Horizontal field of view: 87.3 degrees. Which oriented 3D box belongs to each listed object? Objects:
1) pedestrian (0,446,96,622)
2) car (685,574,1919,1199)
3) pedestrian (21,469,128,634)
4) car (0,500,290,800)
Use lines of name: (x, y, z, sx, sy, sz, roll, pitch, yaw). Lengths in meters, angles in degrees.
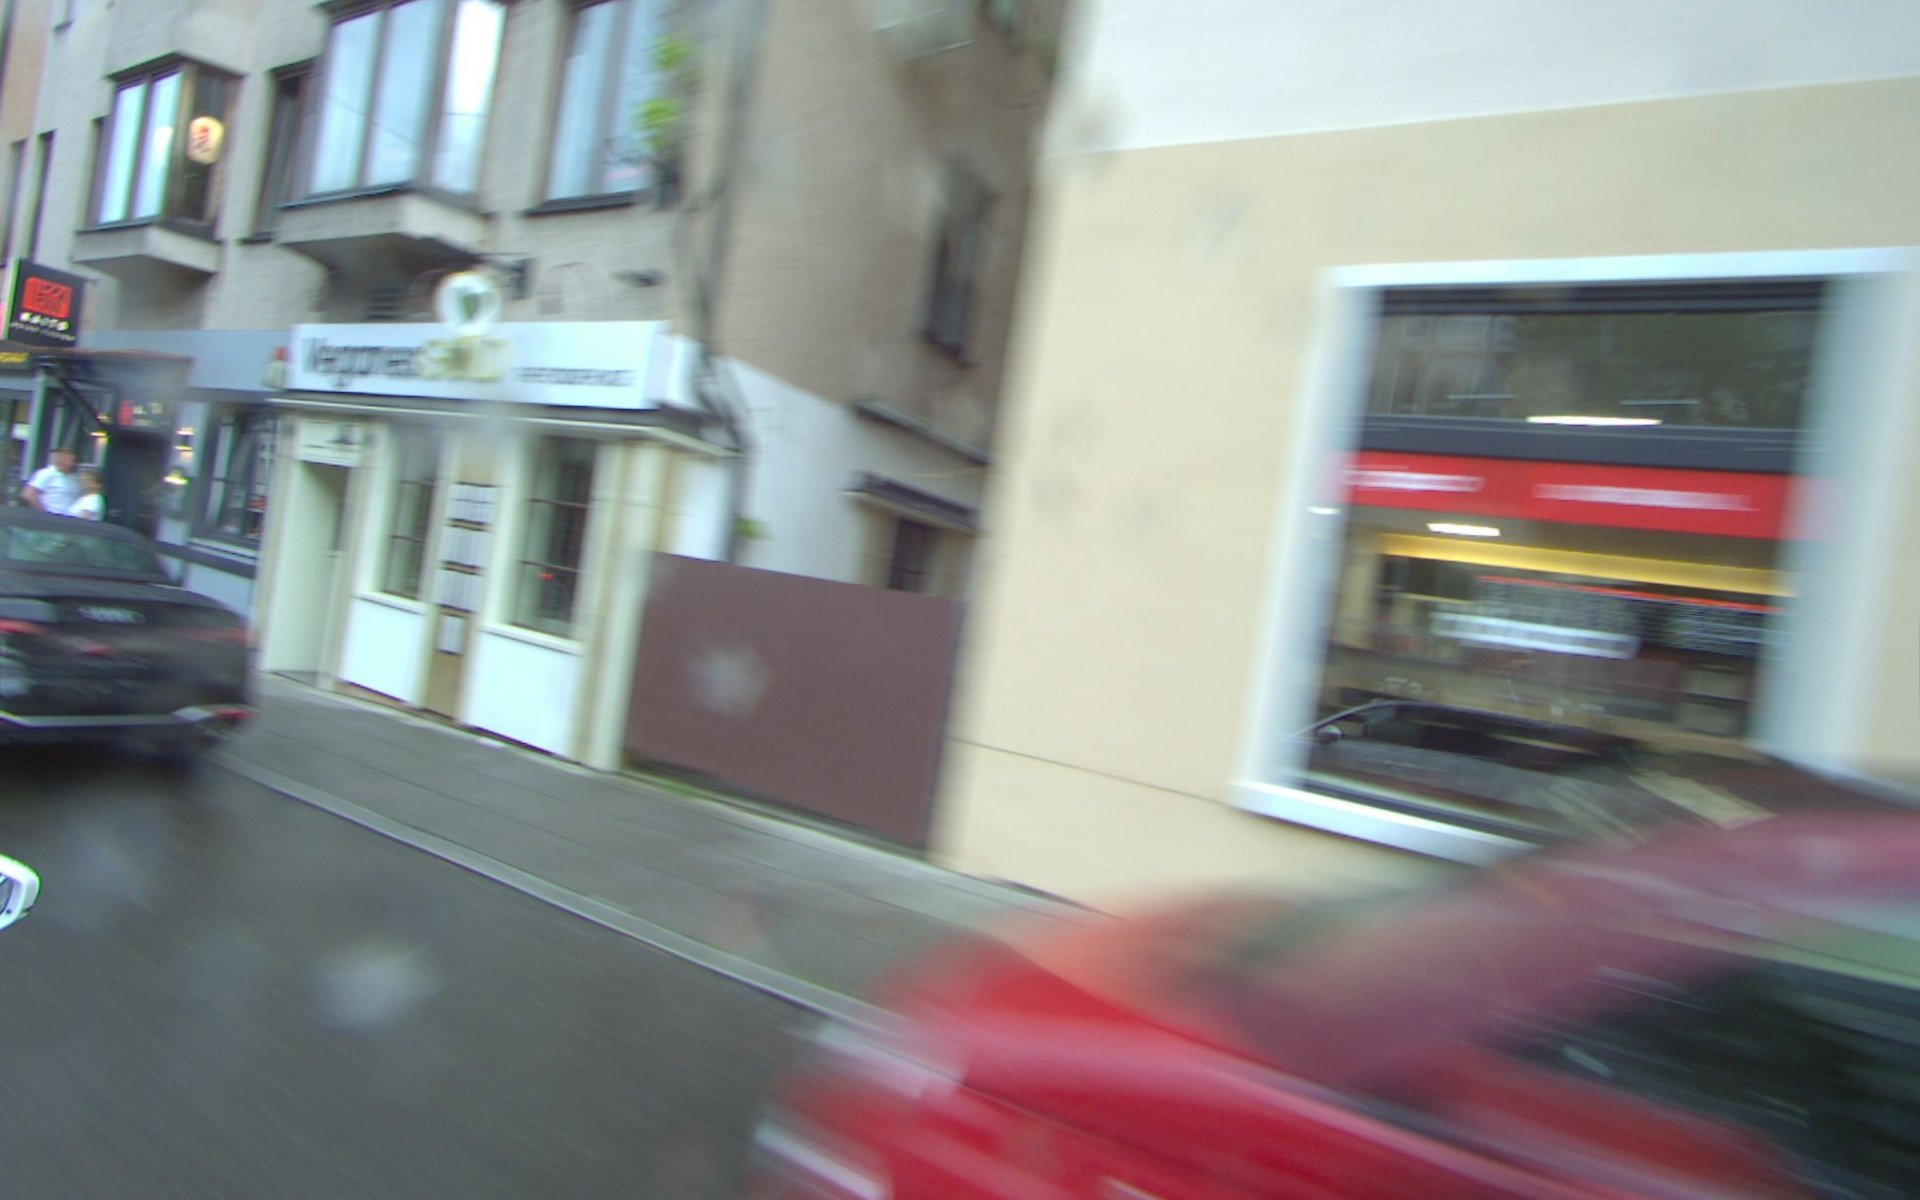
pedestrian: (-10.292, -0.727, 11.316, 0.546, 1.881, 0.530, 7, 0, 24)
car: (1.411, 0.930, 1.509, 3.357, 1.479, 1.648, 7, -1, 32)
pedestrian: (-9.657, -0.521, 10.981, 0.585, 1.701, 0.546, 7, 0, 24)
car: (-6.383, 0.077, 6.321, 4.174, 1.479, 1.910, 7, -1, 31)
